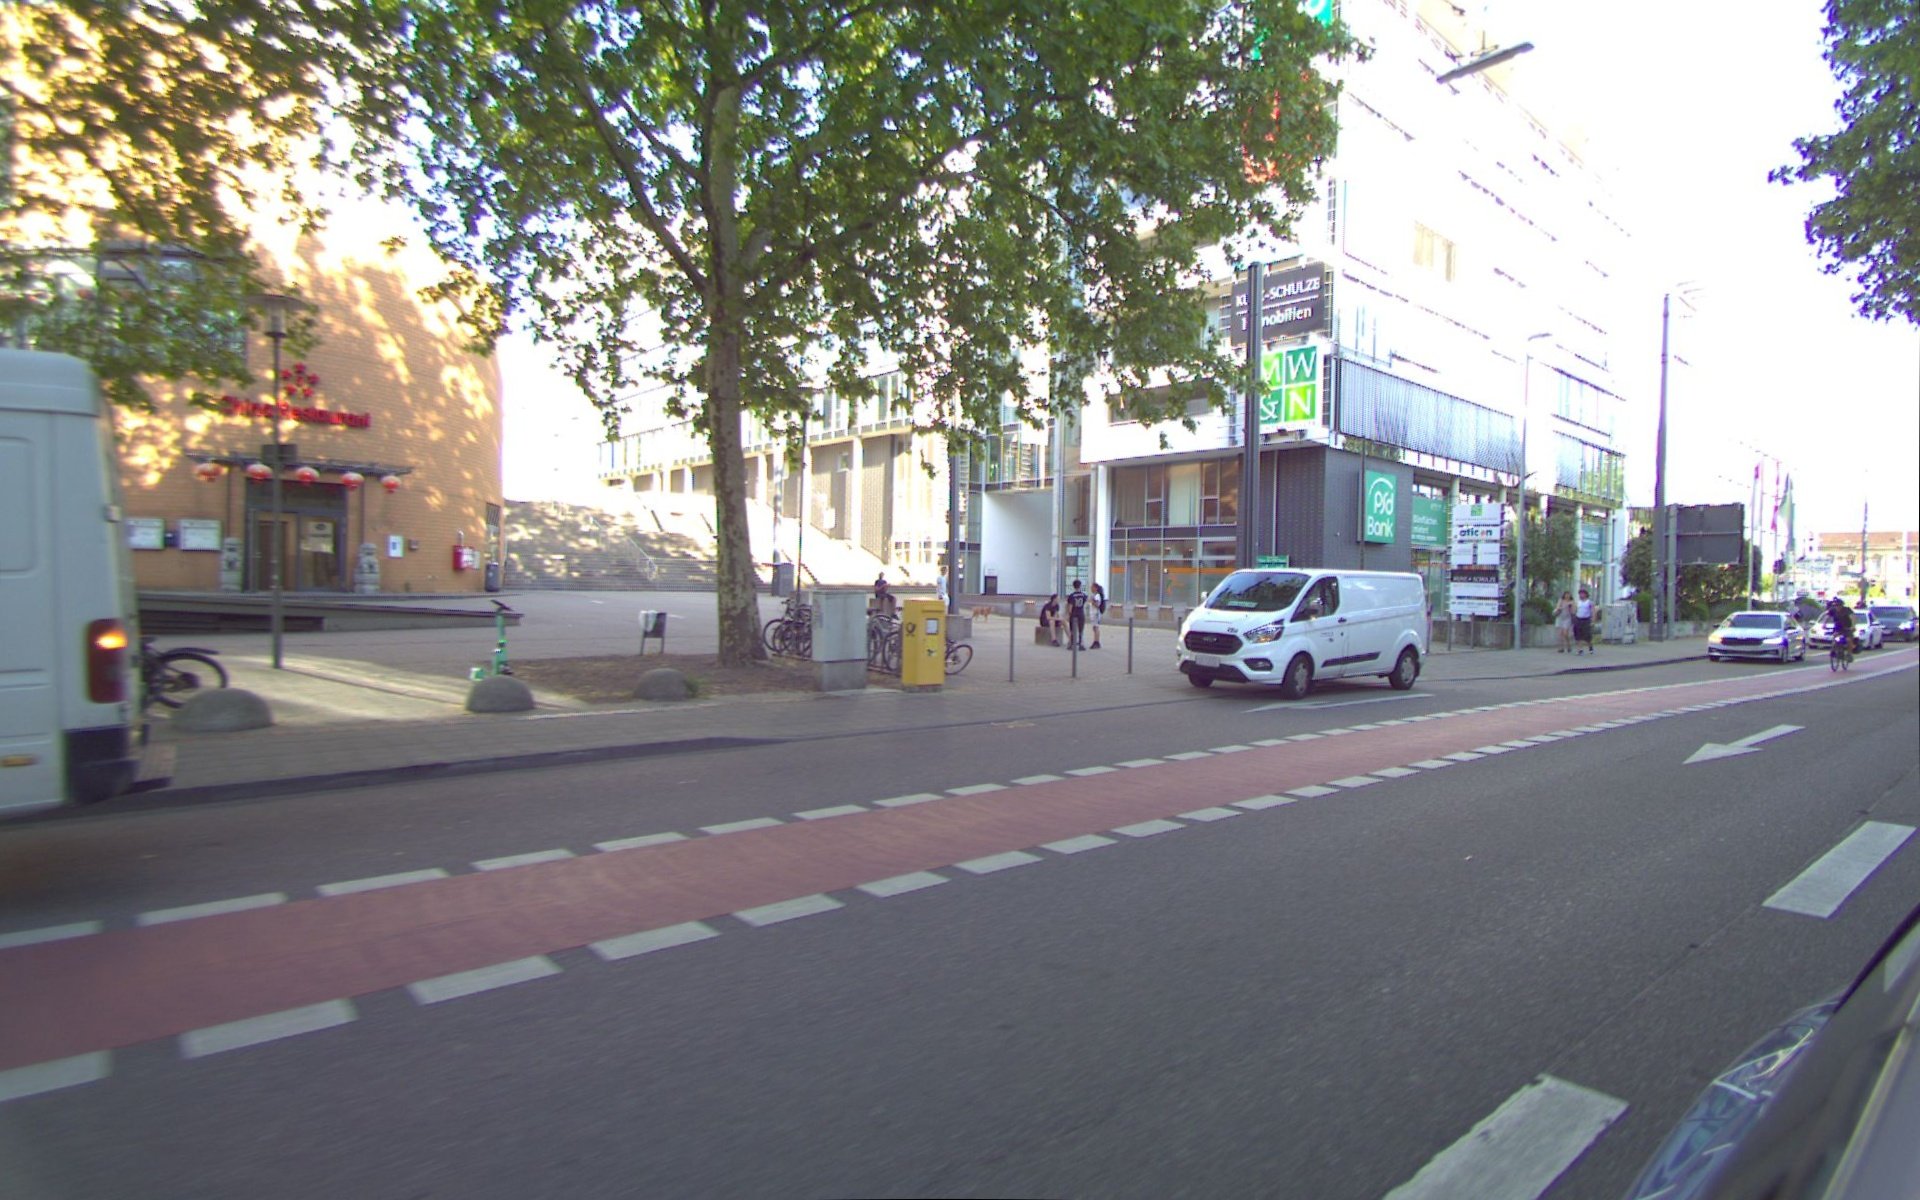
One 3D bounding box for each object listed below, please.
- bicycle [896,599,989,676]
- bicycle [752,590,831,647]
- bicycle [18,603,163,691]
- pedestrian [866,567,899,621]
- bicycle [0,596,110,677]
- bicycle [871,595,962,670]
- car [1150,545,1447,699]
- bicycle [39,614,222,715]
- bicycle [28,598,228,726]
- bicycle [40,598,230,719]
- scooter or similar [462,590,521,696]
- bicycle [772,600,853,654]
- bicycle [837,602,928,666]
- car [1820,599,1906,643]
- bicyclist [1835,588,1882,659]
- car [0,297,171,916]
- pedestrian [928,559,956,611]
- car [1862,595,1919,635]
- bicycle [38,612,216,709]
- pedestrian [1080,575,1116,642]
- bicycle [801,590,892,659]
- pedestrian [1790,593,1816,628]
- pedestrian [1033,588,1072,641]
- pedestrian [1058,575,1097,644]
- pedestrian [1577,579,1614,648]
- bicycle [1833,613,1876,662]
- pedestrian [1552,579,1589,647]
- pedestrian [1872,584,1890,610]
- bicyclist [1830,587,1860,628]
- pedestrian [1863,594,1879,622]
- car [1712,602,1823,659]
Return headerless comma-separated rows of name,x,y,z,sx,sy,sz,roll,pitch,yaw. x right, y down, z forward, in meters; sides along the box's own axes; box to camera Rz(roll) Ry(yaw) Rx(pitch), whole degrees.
bicycle,-0.268,0.576,16.328,1.513,1.173,0.513,0,1,-42
bicycle,-3.371,0.362,20.244,1.481,1.091,0.460,0,1,-32
bicycle,-10.160,0.528,11.849,1.260,0.958,0.407,0,1,-44
pedestrian,-2.157,-0.181,28.230,0.590,1.474,0.712,1,1,-40
bicycle,-11.517,0.444,12.673,0.412,0.958,1.267,2,1,31
bicycle,-0.706,0.520,16.848,1.513,1.173,0.513,0,1,-42
car,5.701,0.281,16.723,5.192,2.160,2.129,0,1,-38
bicycle,-8.642,0.642,10.583,1.453,0.958,0.407,0,1,-44
bicycle,-7.972,0.555,9.741,1.453,1.133,0.407,0,1,-44
bicycle,-8.309,0.554,10.232,1.453,1.133,0.407,0,1,-44
scooter or similar,-5.898,0.516,12.715,0.403,1.239,1.211,1,1,-37
bicycle,-2.755,0.491,18.968,1.484,0.971,0.459,0,1,-42
bicycle,-1.315,0.556,17.359,1.599,1.042,0.459,0,1,-42
car,33.340,0.740,37.338,3.798,1.482,1.672,0,2,-38
bicyclist,22.345,0.562,25.161,0.702,1.709,0.751,1,1,-42
car,-6.979,0.028,3.674,6.441,2.759,1.998,0,0,-38
pedestrian,-0.585,-0.503,33.544,0.710,1.697,0.539,1,1,-41
car,41.428,0.635,44.594,3.930,1.616,1.997,0,1,-41
bicycle,-8.955,0.622,10.916,1.453,0.958,0.407,0,1,-44
pedestrian,3.248,0.202,23.800,0.623,1.541,0.517,1,1,-34
bicycle,-2.052,0.430,18.440,1.689,1.193,0.459,0,1,-42
pedestrian,39.010,0.470,46.838,0.895,1.594,0.753,0,1,-38
pedestrian,2.241,0.336,24.509,0.665,1.236,0.615,1,1,-37
pedestrian,2.683,0.211,23.178,0.625,1.562,0.578,1,1,-34
pedestrian,17.380,0.364,27.675,0.876,1.831,0.564,0,2,-40
bicycle,22.244,0.904,25.150,2.090,1.135,0.550,0,1,-42
pedestrian,16.991,0.344,28.158,0.880,1.831,0.591,0,2,-40
pedestrian,58.524,-0.192,64.326,0.652,1.601,0.693,0,3,-39
bicyclist,40.870,0.345,46.745,1.188,1.783,0.743,0,4,-40
pedestrian,53.181,0.477,59.071,0.579,1.601,0.527,0,3,-39
car,23.175,0.820,29.010,3.951,1.437,1.785,0,2,-41
